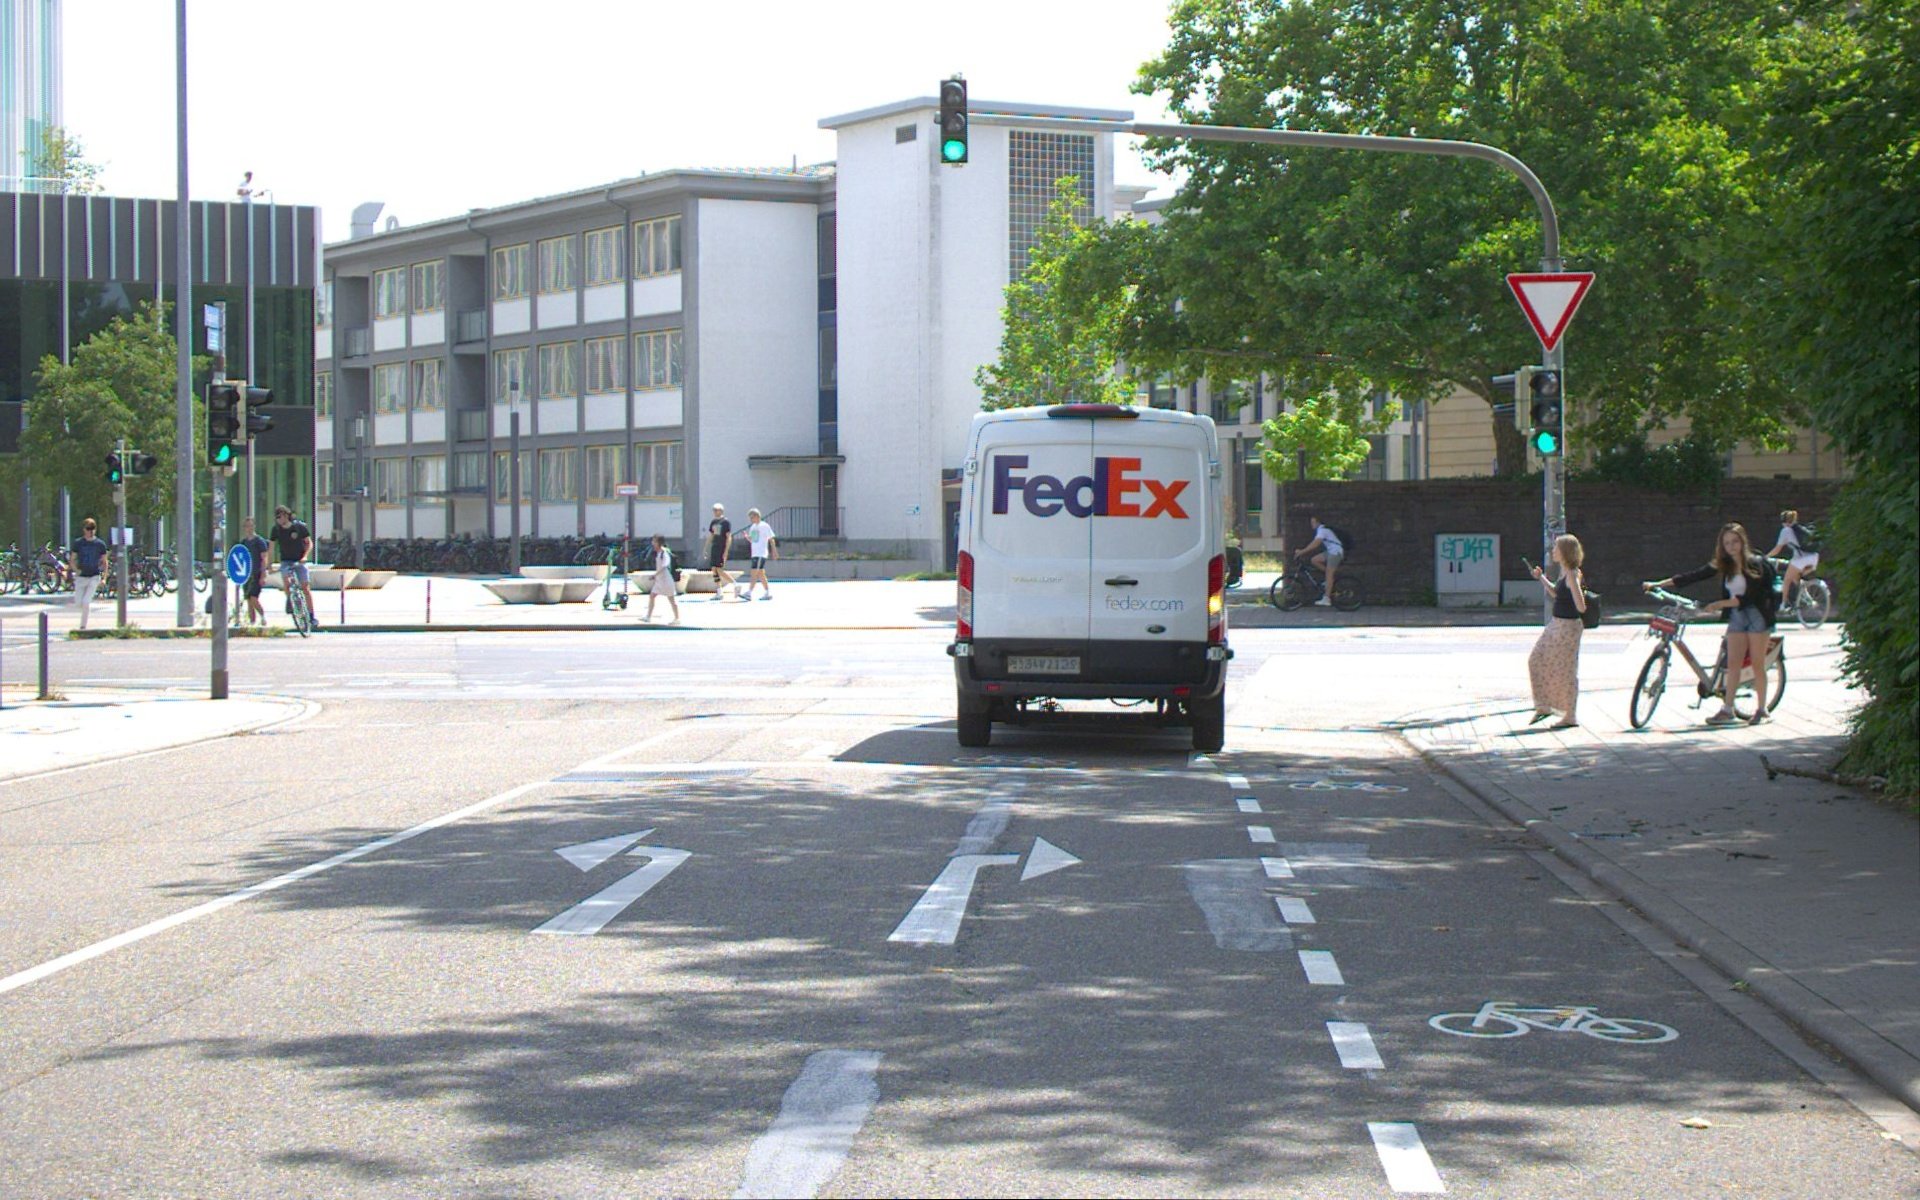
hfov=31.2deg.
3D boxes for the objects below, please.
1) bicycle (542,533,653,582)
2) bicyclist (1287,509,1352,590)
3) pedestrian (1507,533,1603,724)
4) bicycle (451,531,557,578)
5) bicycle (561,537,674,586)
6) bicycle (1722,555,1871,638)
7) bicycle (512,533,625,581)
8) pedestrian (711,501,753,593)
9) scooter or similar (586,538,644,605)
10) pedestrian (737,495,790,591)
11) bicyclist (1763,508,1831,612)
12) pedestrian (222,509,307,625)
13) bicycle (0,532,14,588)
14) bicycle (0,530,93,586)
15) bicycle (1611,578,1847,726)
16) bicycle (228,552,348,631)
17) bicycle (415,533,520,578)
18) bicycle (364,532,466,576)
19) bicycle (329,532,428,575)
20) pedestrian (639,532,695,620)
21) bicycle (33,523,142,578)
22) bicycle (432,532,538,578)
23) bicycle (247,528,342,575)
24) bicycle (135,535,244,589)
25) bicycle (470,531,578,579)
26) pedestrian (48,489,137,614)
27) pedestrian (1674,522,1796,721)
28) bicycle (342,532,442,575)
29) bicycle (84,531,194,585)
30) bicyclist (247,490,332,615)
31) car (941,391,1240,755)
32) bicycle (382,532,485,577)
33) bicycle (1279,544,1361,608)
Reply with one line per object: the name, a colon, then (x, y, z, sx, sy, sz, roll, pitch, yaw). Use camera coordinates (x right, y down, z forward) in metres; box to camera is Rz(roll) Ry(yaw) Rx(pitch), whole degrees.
bicycle: (-10.277, -1.206, 97.520, 2.956, 1.359, 1.117, 0, 1, -34)
bicyclist: (6.528, -0.924, 62.404, 0.850, 1.463, 1.067, 0, 1, 26)
pedestrian: (4.982, 0.227, 28.806, 0.731, 1.570, 0.775, 1, 1, 8)
bicycle: (-13.552, -1.343, 102.223, 2.956, 1.359, 1.117, 0, 1, -34)
bicycle: (-9.593, -1.077, 96.378, 2.956, 1.359, 1.117, 0, 1, -34)
bicycle: (11.763, -0.064, 48.395, 0.550, 1.127, 2.174, -1, 1, -38)
bicycle: (-11.258, -1.236, 98.845, 2.956, 1.359, 1.275, 0, 1, -34)
pedestrian: (-4.538, -1.056, 68.272, 0.668, 1.808, 0.816, 0, 1, -16)
scooter or similar: (-6.443, -0.549, 64.122, 0.716, 1.174, 2.726, 0, 2, -13)
pedestrian: (-3.859, -1.118, 67.458, 0.865, 1.883, 0.913, 0, 1, -16)
bicyclist: (11.771, -0.567, 48.351, 0.514, 1.447, 0.787, -1, 1, -37)
pedestrian: (-11.224, -0.541, 55.518, 0.831, 1.864, 1.083, 0, 1, 27)
bicycle: (-22.440, -0.914, 77.611, 1.197, 1.233, 2.951, 0, 1, -34)
bicycle: (-20.964, -0.967, 78.124, 1.197, 1.233, 2.950, 0, 1, -42)
bicycle: (6.281, 0.419, 28.122, 1.736, 1.123, 0.594, -3, 0, -3)
bicycle: (-9.861, -0.137, 50.533, 0.771, 1.118, 2.024, 0, 1, 21)
bicycle: (-14.943, -1.354, 104.388, 2.956, 1.359, 1.117, 0, 1, -34)
bicycle: (-17.098, -1.428, 107.904, 2.956, 1.359, 1.117, 0, 1, -34)
bicycle: (-18.780, -1.505, 111.032, 2.956, 1.359, 1.117, 0, 1, -34)
pedestrian: (-5.094, -0.430, 59.787, 0.824, 1.518, 0.815, 0, 1, -16)
bicycle: (-20.056, -1.147, 78.982, 1.197, 1.233, 2.950, 0, 1, -42)
bicycle: (-14.268, -1.337, 103.322, 2.956, 1.359, 1.117, 0, 1, -34)
bicycle: (-22.633, -1.640, 116.930, 2.956, 1.569, 1.117, 0, 1, -34)
bicycle: (-18.046, -0.900, 80.487, 1.197, 1.233, 2.950, 0, 1, -42)
bicycle: (-12.817, -1.322, 101.120, 2.956, 1.359, 1.117, 0, 1, -34)
pedestrian: (-13.117, -0.743, 52.009, 0.703, 1.849, 1.398, 0, 3, 12)
pedestrian: (6.316, 0.177, 28.045, 0.731, 1.570, 0.727, -3, 0, -3)
bicycle: (-18.139, -1.482, 109.813, 2.956, 1.359, 1.117, 0, 1, -34)
bicycle: (-19.049, -0.983, 79.729, 1.197, 1.233, 2.950, 0, 1, -42)
bicyclist: (-9.852, -0.698, 50.533, 0.790, 1.811, 0.998, 0, 1, 21)
car: (1.039, -0.258, 27.184, 2.095, 2.558, 5.602, 1, 1, 2)
bicycle: (-16.275, -1.397, 106.369, 2.956, 1.359, 1.117, 0, 1, -34)
bicycle: (6.549, -0.447, 62.466, 0.849, 1.141, 1.993, 0, 1, 26)
